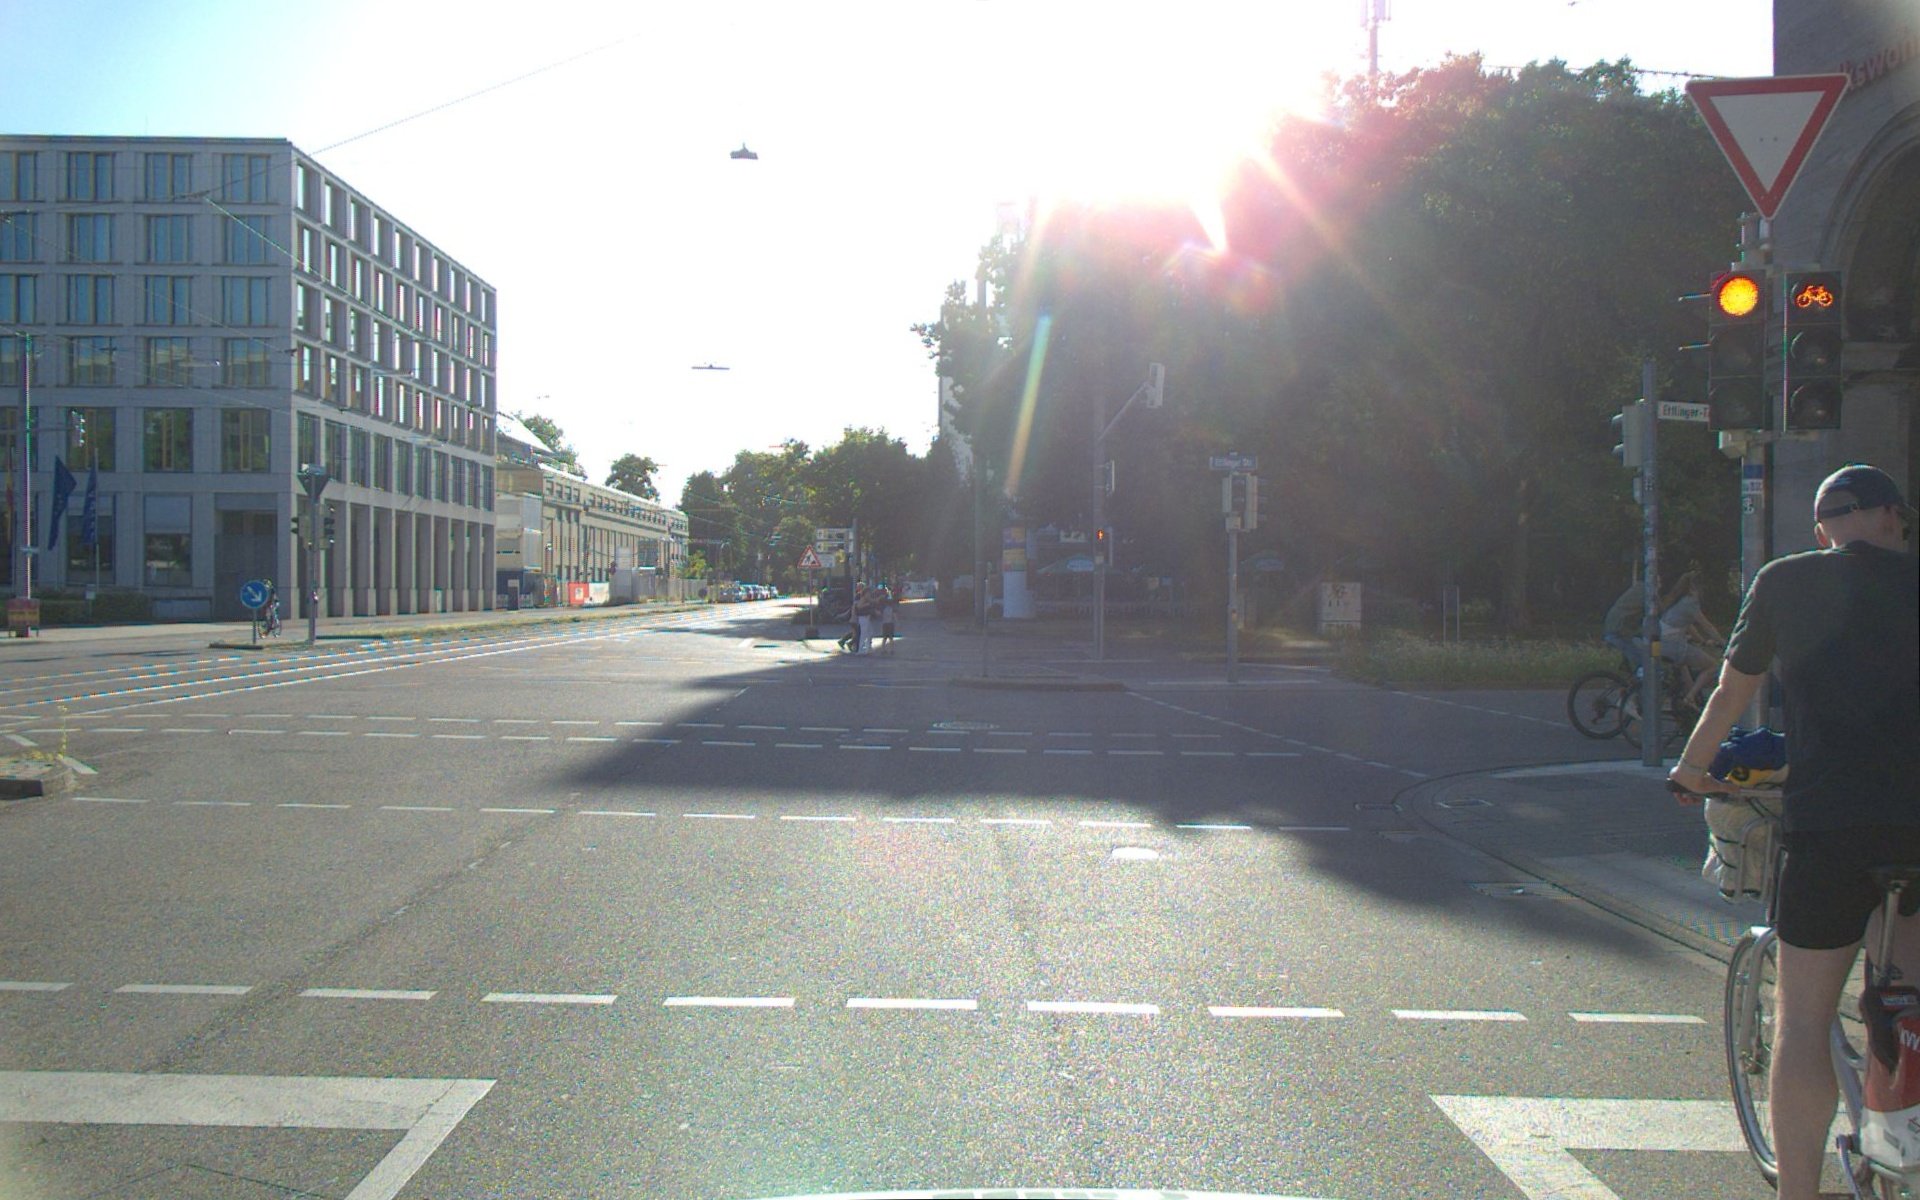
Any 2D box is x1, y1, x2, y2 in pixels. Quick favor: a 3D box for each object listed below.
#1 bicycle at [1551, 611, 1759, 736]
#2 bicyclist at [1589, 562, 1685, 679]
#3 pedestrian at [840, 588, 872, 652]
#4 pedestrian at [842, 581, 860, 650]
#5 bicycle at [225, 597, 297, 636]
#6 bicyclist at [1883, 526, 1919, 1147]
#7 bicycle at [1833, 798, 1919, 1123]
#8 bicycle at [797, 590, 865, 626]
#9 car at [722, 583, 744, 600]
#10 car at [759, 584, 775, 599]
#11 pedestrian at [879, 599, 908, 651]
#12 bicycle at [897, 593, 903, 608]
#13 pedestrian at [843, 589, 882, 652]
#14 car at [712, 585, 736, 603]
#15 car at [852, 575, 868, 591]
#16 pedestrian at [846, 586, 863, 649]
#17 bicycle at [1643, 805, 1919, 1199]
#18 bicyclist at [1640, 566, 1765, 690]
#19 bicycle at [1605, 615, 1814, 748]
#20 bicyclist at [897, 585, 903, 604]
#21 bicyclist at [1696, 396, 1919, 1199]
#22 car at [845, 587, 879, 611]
[{"bbox_3d":[7.562,0.782,18.056,1.945,1.314,0.791,0,0,-3],"label":"bicycle"},{"bbox_3d":[7.369,0.219,18.037,0.706,1.240,0.797,0,0,-2],"label":"bicyclist"},{"bbox_3d":[-2.752,0.526,43.745,0.779,1.668,0.533,0,0,2],"label":"pedestrian"},{"bbox_3d":[-2.947,0.417,44.597,0.353,1.836,0.507,0,0,11],"label":"pedestrian"},{"bbox_3d":[-21.056,0.472,49.912,0.857,1.140,3.013,0,0,0],"label":"bicycle"},{"bbox_3d":[2.883,0.650,4.292,0.511,1.709,0.859,0,0,2],"label":"bicyclist"},{"bbox_3d":[3.004,1.090,4.370,0.418,0.891,1.951,0,0,2],"label":"bicycle"},{"bbox_3d":[-5.230,0.334,67.050,2.688,1.391,0.631,1,-1,10],"label":"bicycle"},{"bbox_3d":[-21.899,-0.814,159.744,1.695,1.682,3.999,0,0,-1],"label":"car"},{"bbox_3d":[-22.647,-0.975,194.055,1.453,1.780,3.999,0,0,-1],"label":"car"},{"bbox_3d":[-1.729,0.647,43.113,0.725,1.356,0.755,0,0,1],"label":"pedestrian"},{"bbox_3d":[-3.577,0.014,98.415,0.317,0.883,1.483,0,0,-1],"label":"bicycle"},{"bbox_3d":[-2.553,0.531,43.255,0.964,1.615,0.660,0,-1,1],"label":"pedestrian"},{"bbox_3d":[-22.225,-0.574,155.768,1.695,1.682,3.999,0,0,-1],"label":"car"},{"bbox_3d":[-13.627,-2.288,224.883,1.953,2.049,3.999,0,0,-1],"label":"car"},{"bbox_3d":[-2.829,0.468,44.283,0.432,1.692,0.376,0,0,-2],"label":"pedestrian"},{"bbox_3d":[2.093,1.075,3.929,0.381,0.921,1.952,0,0,8],"label":"bicycle"},{"bbox_3d":[7.632,0.277,17.029,0.906,1.240,0.796,0,0,-4],"label":"bicyclist"},{"bbox_3d":[7.700,0.823,17.034,1.814,1.314,0.791,0,0,-4],"label":"bicycle"},{"bbox_3d":[-3.575,-0.342,98.321,0.312,1.147,0.291,0,0,-1],"label":"bicyclist"},{"bbox_3d":[2.122,0.428,3.742,0.655,1.707,0.657,0,0,6],"label":"bicyclist"},{"bbox_3d":[-5.378,-0.054,91.263,1.783,1.301,3.998,0,0,-3],"label":"car"}]
